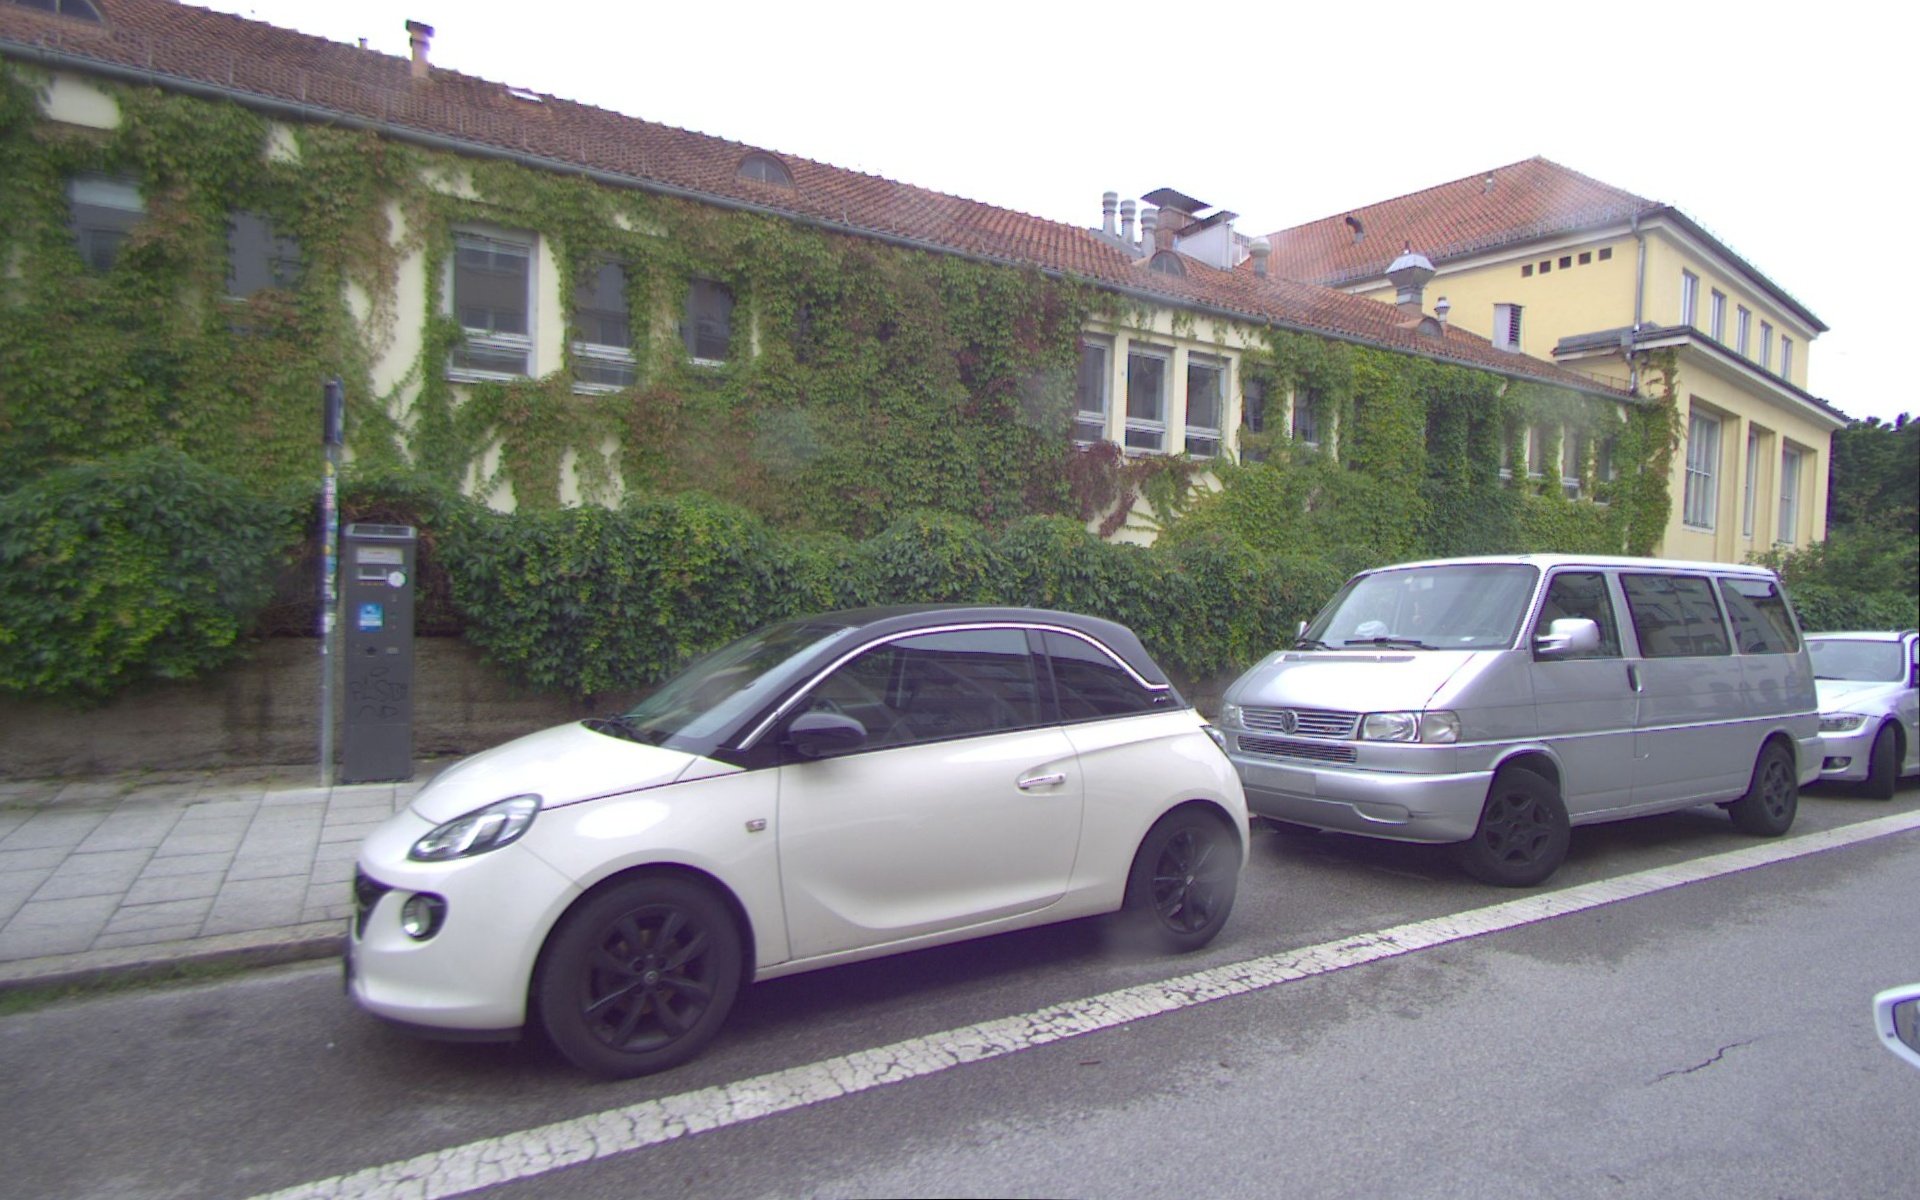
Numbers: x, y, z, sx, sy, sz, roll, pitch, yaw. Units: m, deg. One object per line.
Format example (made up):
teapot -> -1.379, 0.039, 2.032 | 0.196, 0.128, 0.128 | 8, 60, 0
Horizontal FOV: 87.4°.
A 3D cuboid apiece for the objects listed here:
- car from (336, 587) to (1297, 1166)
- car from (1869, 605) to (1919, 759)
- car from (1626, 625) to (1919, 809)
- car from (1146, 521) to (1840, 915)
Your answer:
car -> -0.446, 0.765, 4.273 | 3.687, 1.512, 1.571 | 1, -2, -31
car -> 12.978, 0.960, 12.277 | 4.374, 1.753, 1.611 | 1, -1, -31
car -> 8.539, 0.972, 9.740 | 4.371, 1.441, 1.694 | 1, -1, -29
car -> 3.747, 0.632, 6.889 | 4.700, 1.900, 1.985 | 1, -2, -29
